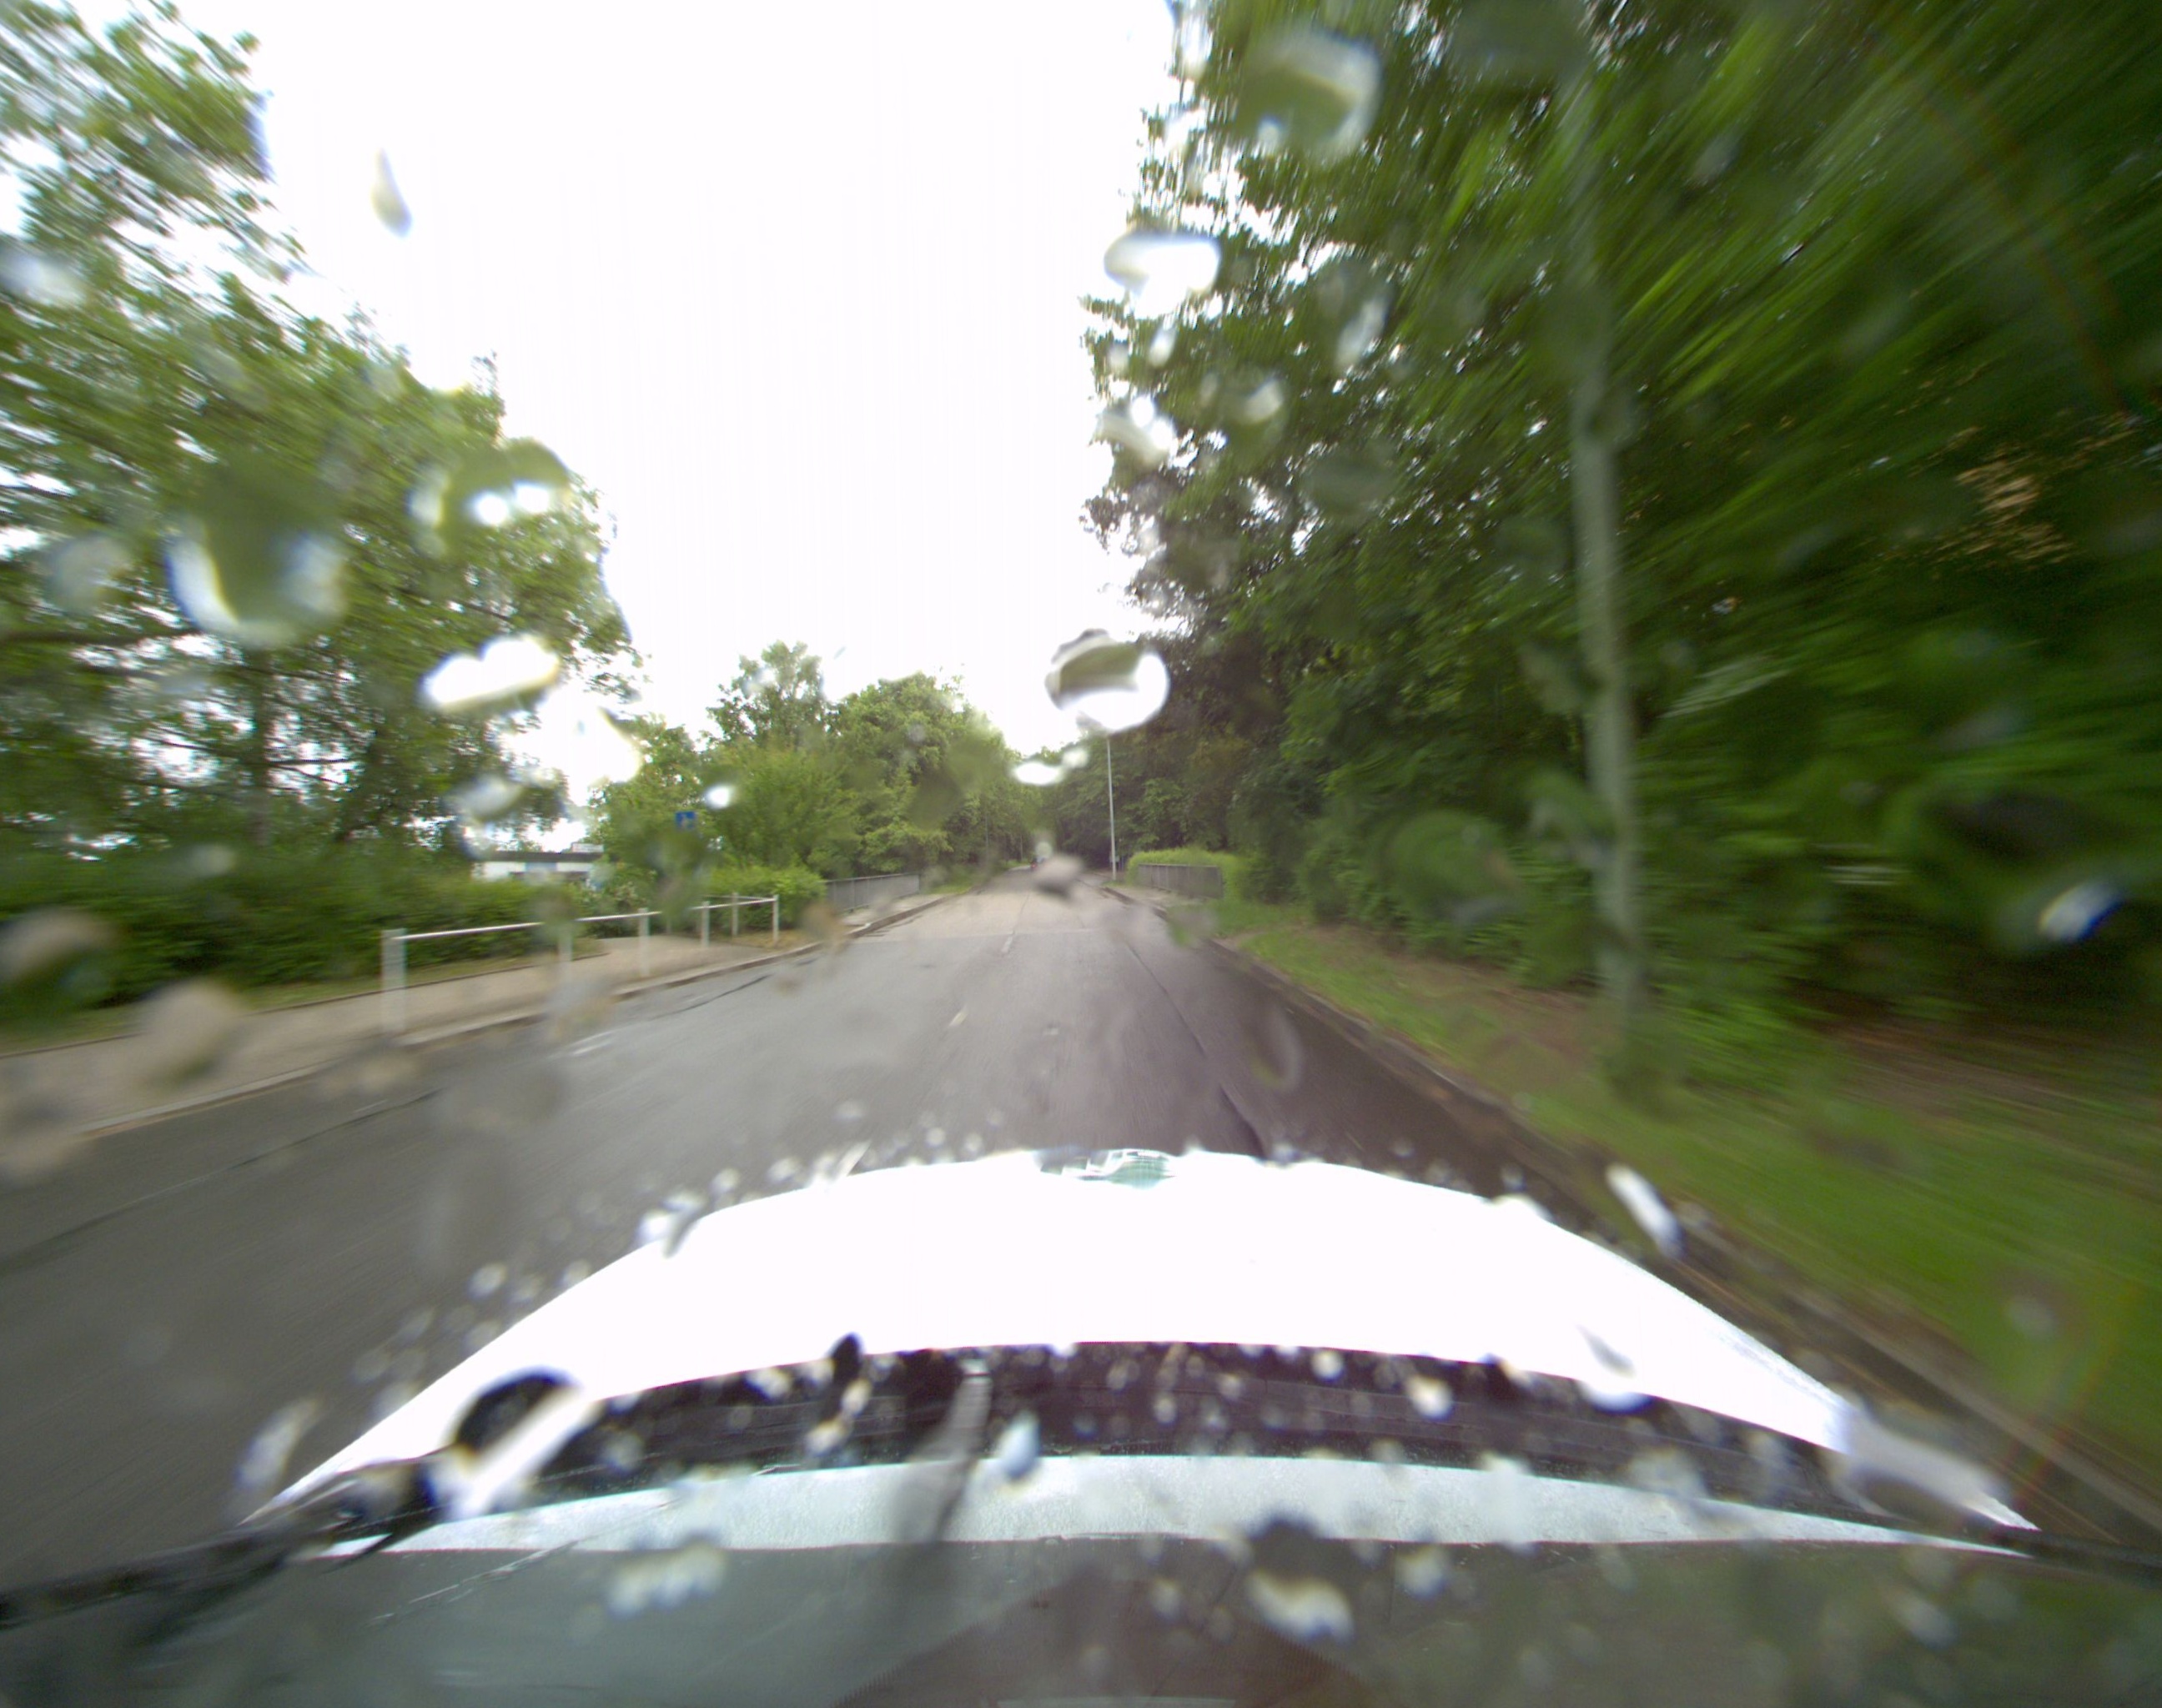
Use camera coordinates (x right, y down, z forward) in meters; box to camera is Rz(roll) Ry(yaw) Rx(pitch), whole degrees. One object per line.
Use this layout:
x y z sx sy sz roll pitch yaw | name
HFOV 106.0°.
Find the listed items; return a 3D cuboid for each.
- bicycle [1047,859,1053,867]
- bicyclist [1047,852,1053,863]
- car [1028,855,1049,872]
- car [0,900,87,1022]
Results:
-4.214 1.214 109.647 0.727 0.974 2.172 -1 0 -1 | bicycle
-4.222 0.499 109.606 0.727 1.411 0.973 -1 0 -1 | bicyclist
-5.051 1.117 96.555 1.986 1.925 3.985 -2 0 -11 | car
-14.886 1.487 9.344 1.786 1.510 4.005 -5 0 5 | car
